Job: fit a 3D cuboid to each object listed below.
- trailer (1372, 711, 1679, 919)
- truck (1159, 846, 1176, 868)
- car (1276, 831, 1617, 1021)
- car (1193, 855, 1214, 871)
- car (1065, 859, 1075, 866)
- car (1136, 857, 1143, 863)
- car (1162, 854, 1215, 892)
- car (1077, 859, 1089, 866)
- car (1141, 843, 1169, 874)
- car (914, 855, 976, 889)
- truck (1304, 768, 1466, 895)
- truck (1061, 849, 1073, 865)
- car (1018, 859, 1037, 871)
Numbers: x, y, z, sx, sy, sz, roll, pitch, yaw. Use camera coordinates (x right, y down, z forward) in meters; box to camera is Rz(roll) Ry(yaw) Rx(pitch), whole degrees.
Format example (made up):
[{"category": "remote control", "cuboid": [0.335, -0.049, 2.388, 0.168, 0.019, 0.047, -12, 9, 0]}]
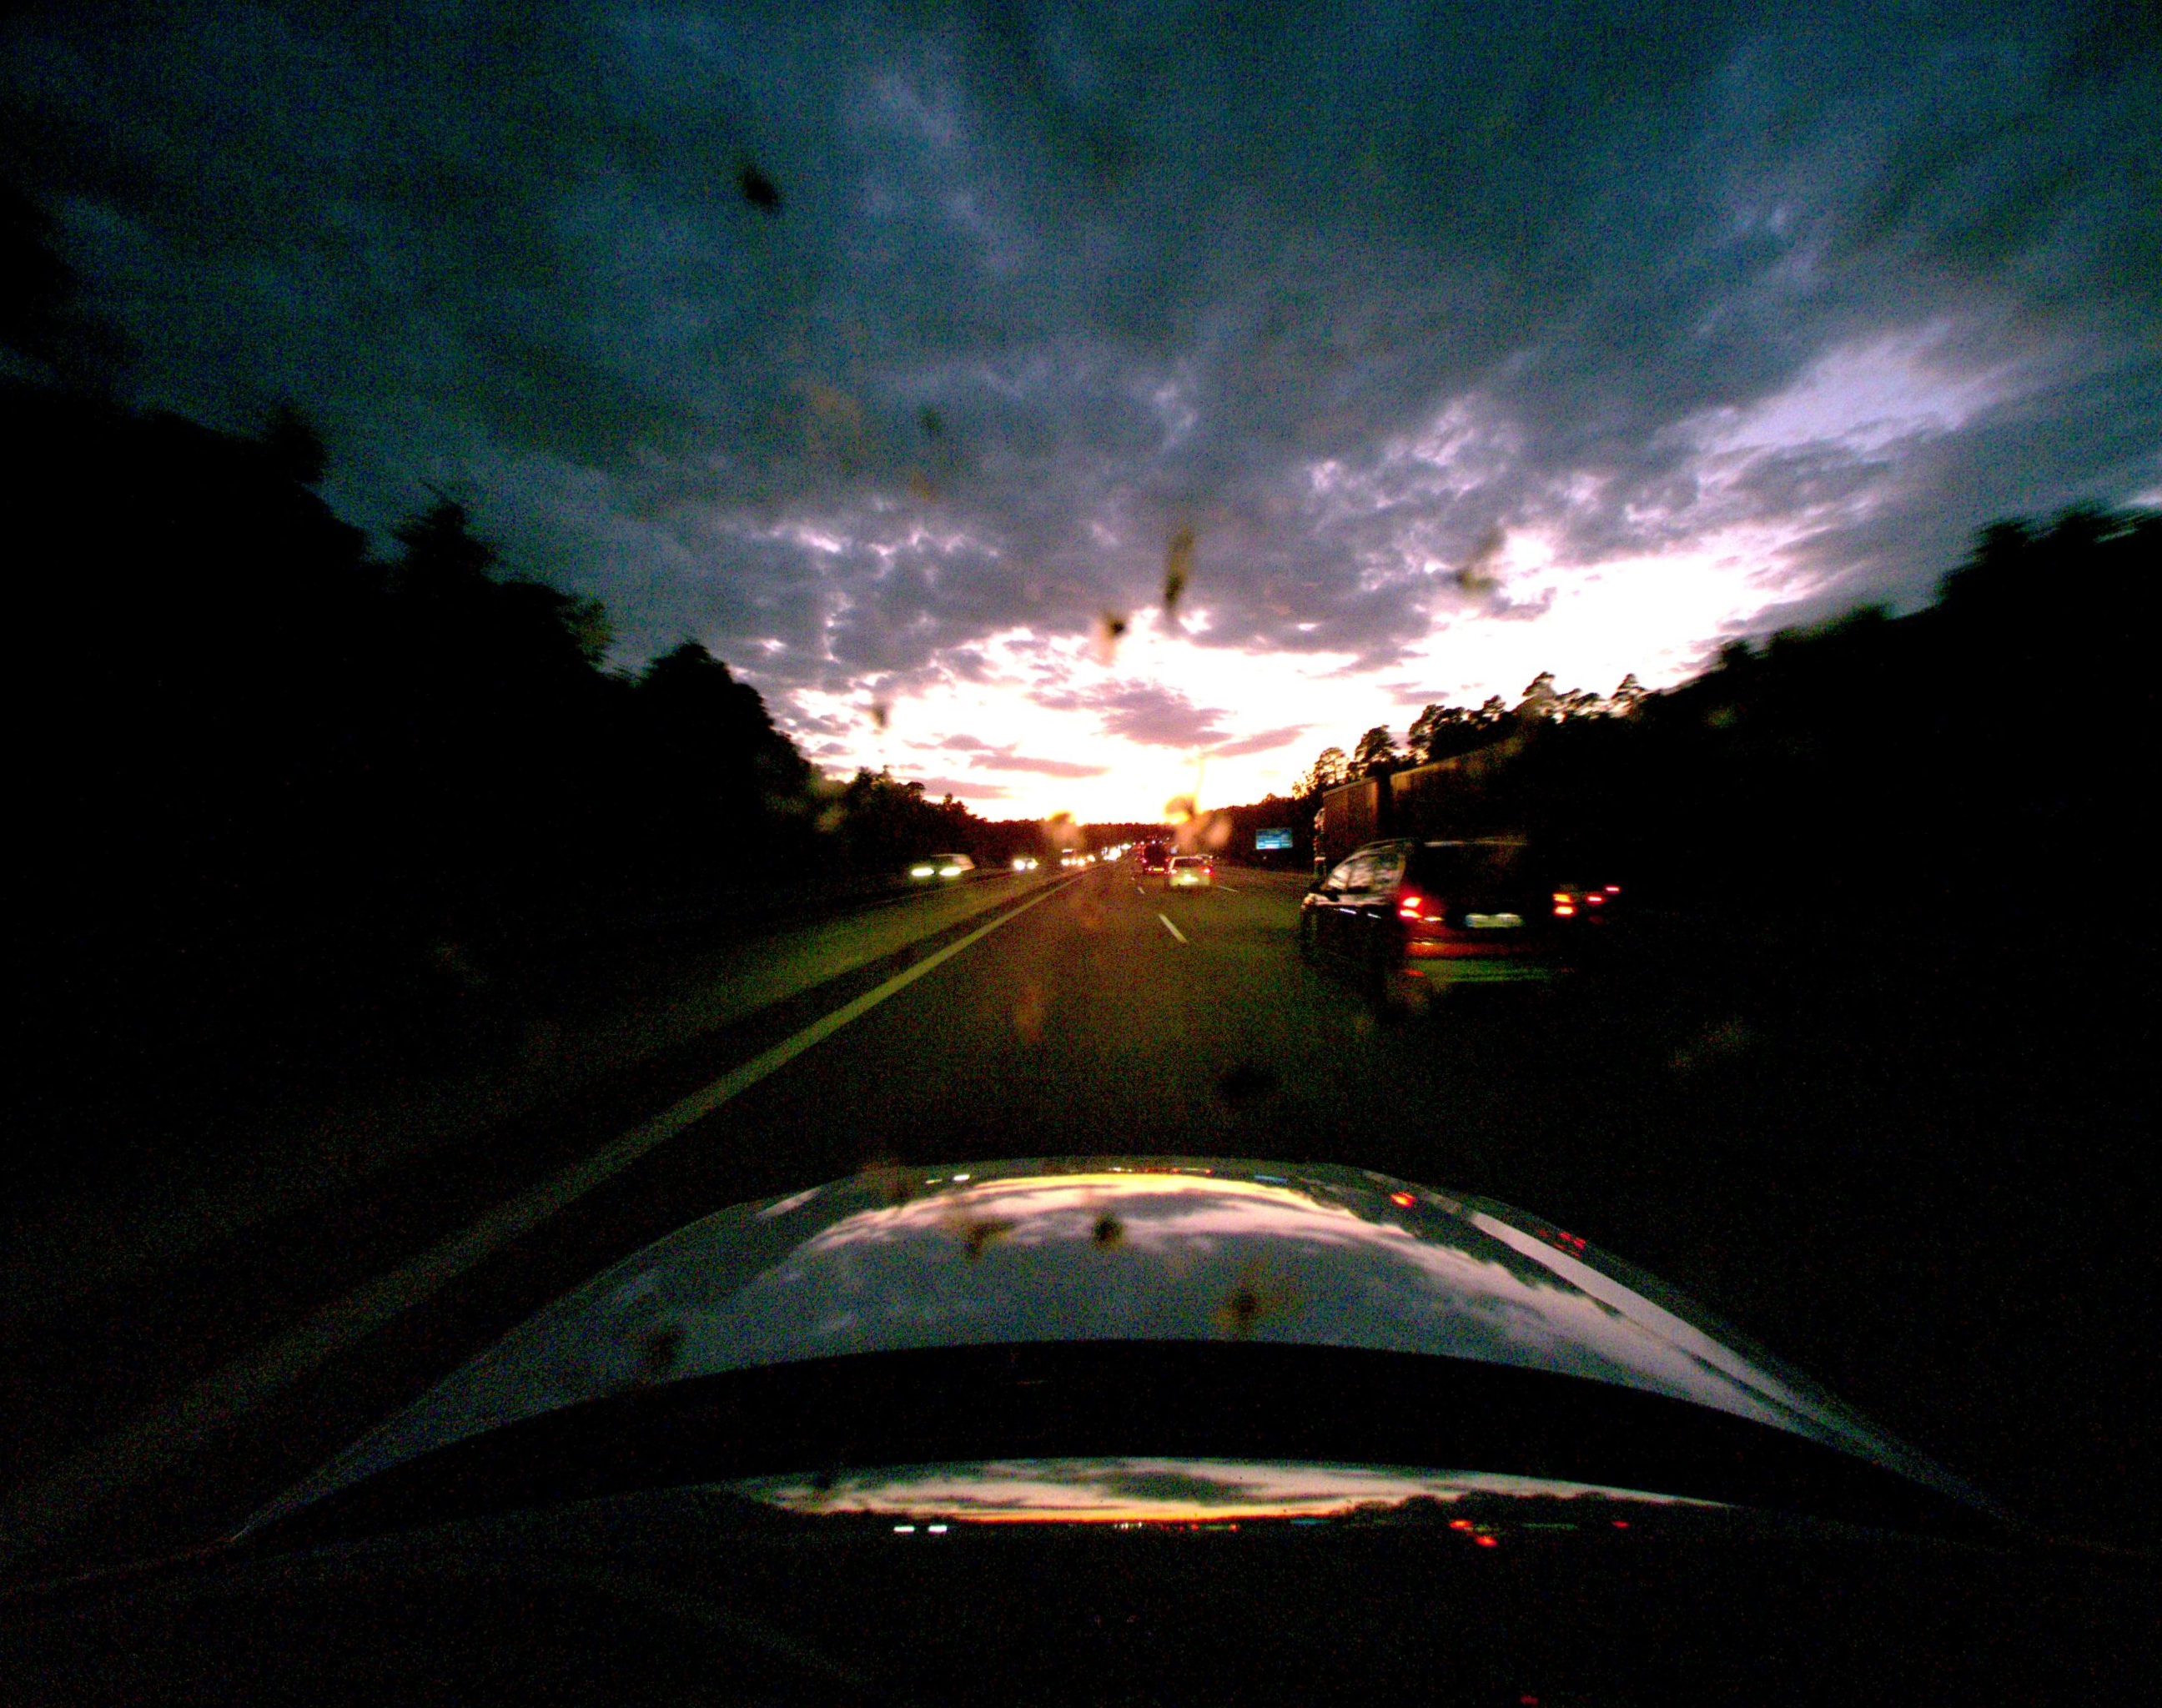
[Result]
[{"category": "trailer", "cuboid": [10.716, -0.744, 21.445, 2.895, 4.100, 10.367, -1, 0, 3]}, {"category": "truck", "cuboid": [24.685, 0.836, 232.911, 4.130, 5.856, 14.313, -1, -1, 4]}, {"category": "car", "cuboid": [3.851, 0.623, 9.755, 1.896, 1.643, 5.054, -1, 0, 1]}, {"category": "car", "cuboid": [12.614, 0.944, 84.046, 1.998, 1.538, 4.007, -1, -1, 6]}, {"category": "car", "cuboid": [-2.251, 1.734, 170.964, 1.769, 1.401, 4.943, -1, 0, 3]}, {"category": "car", "cuboid": [16.248, 1.589, 227.162, 1.827, 1.570, 4.007, -1, -1, 6]}, {"category": "car", "cuboid": [4.465, 0.778, 34.438, 1.852, 1.442, 3.722, -1, 1, 2]}, {"category": "car", "cuboid": [0.415, 1.576, 154.110, 1.985, 1.401, 4.691, -1, 0, 3]}, {"category": "car", "cuboid": [6.226, 0.375, 67.774, 2.155, 2.419, 5.573, -1, -1, 6]}, {"category": "car", "cuboid": [-6.995, 0.885, 42.375, 1.984, 1.638, 5.118, 0, 0, 5]}, {"category": "truck", "cuboid": [11.409, -0.686, 32.052, 2.872, 4.100, 10.841, -1, 0, 3]}, {"category": "truck", "cuboid": [-3.604, 0.761, 211.424, 2.639, 4.132, 6.528, -1, -1, 2]}, {"category": "car", "cuboid": [-6.535, 1.329, 99.857, 1.748, 1.429, 5.367, -1, 0, 3]}]
